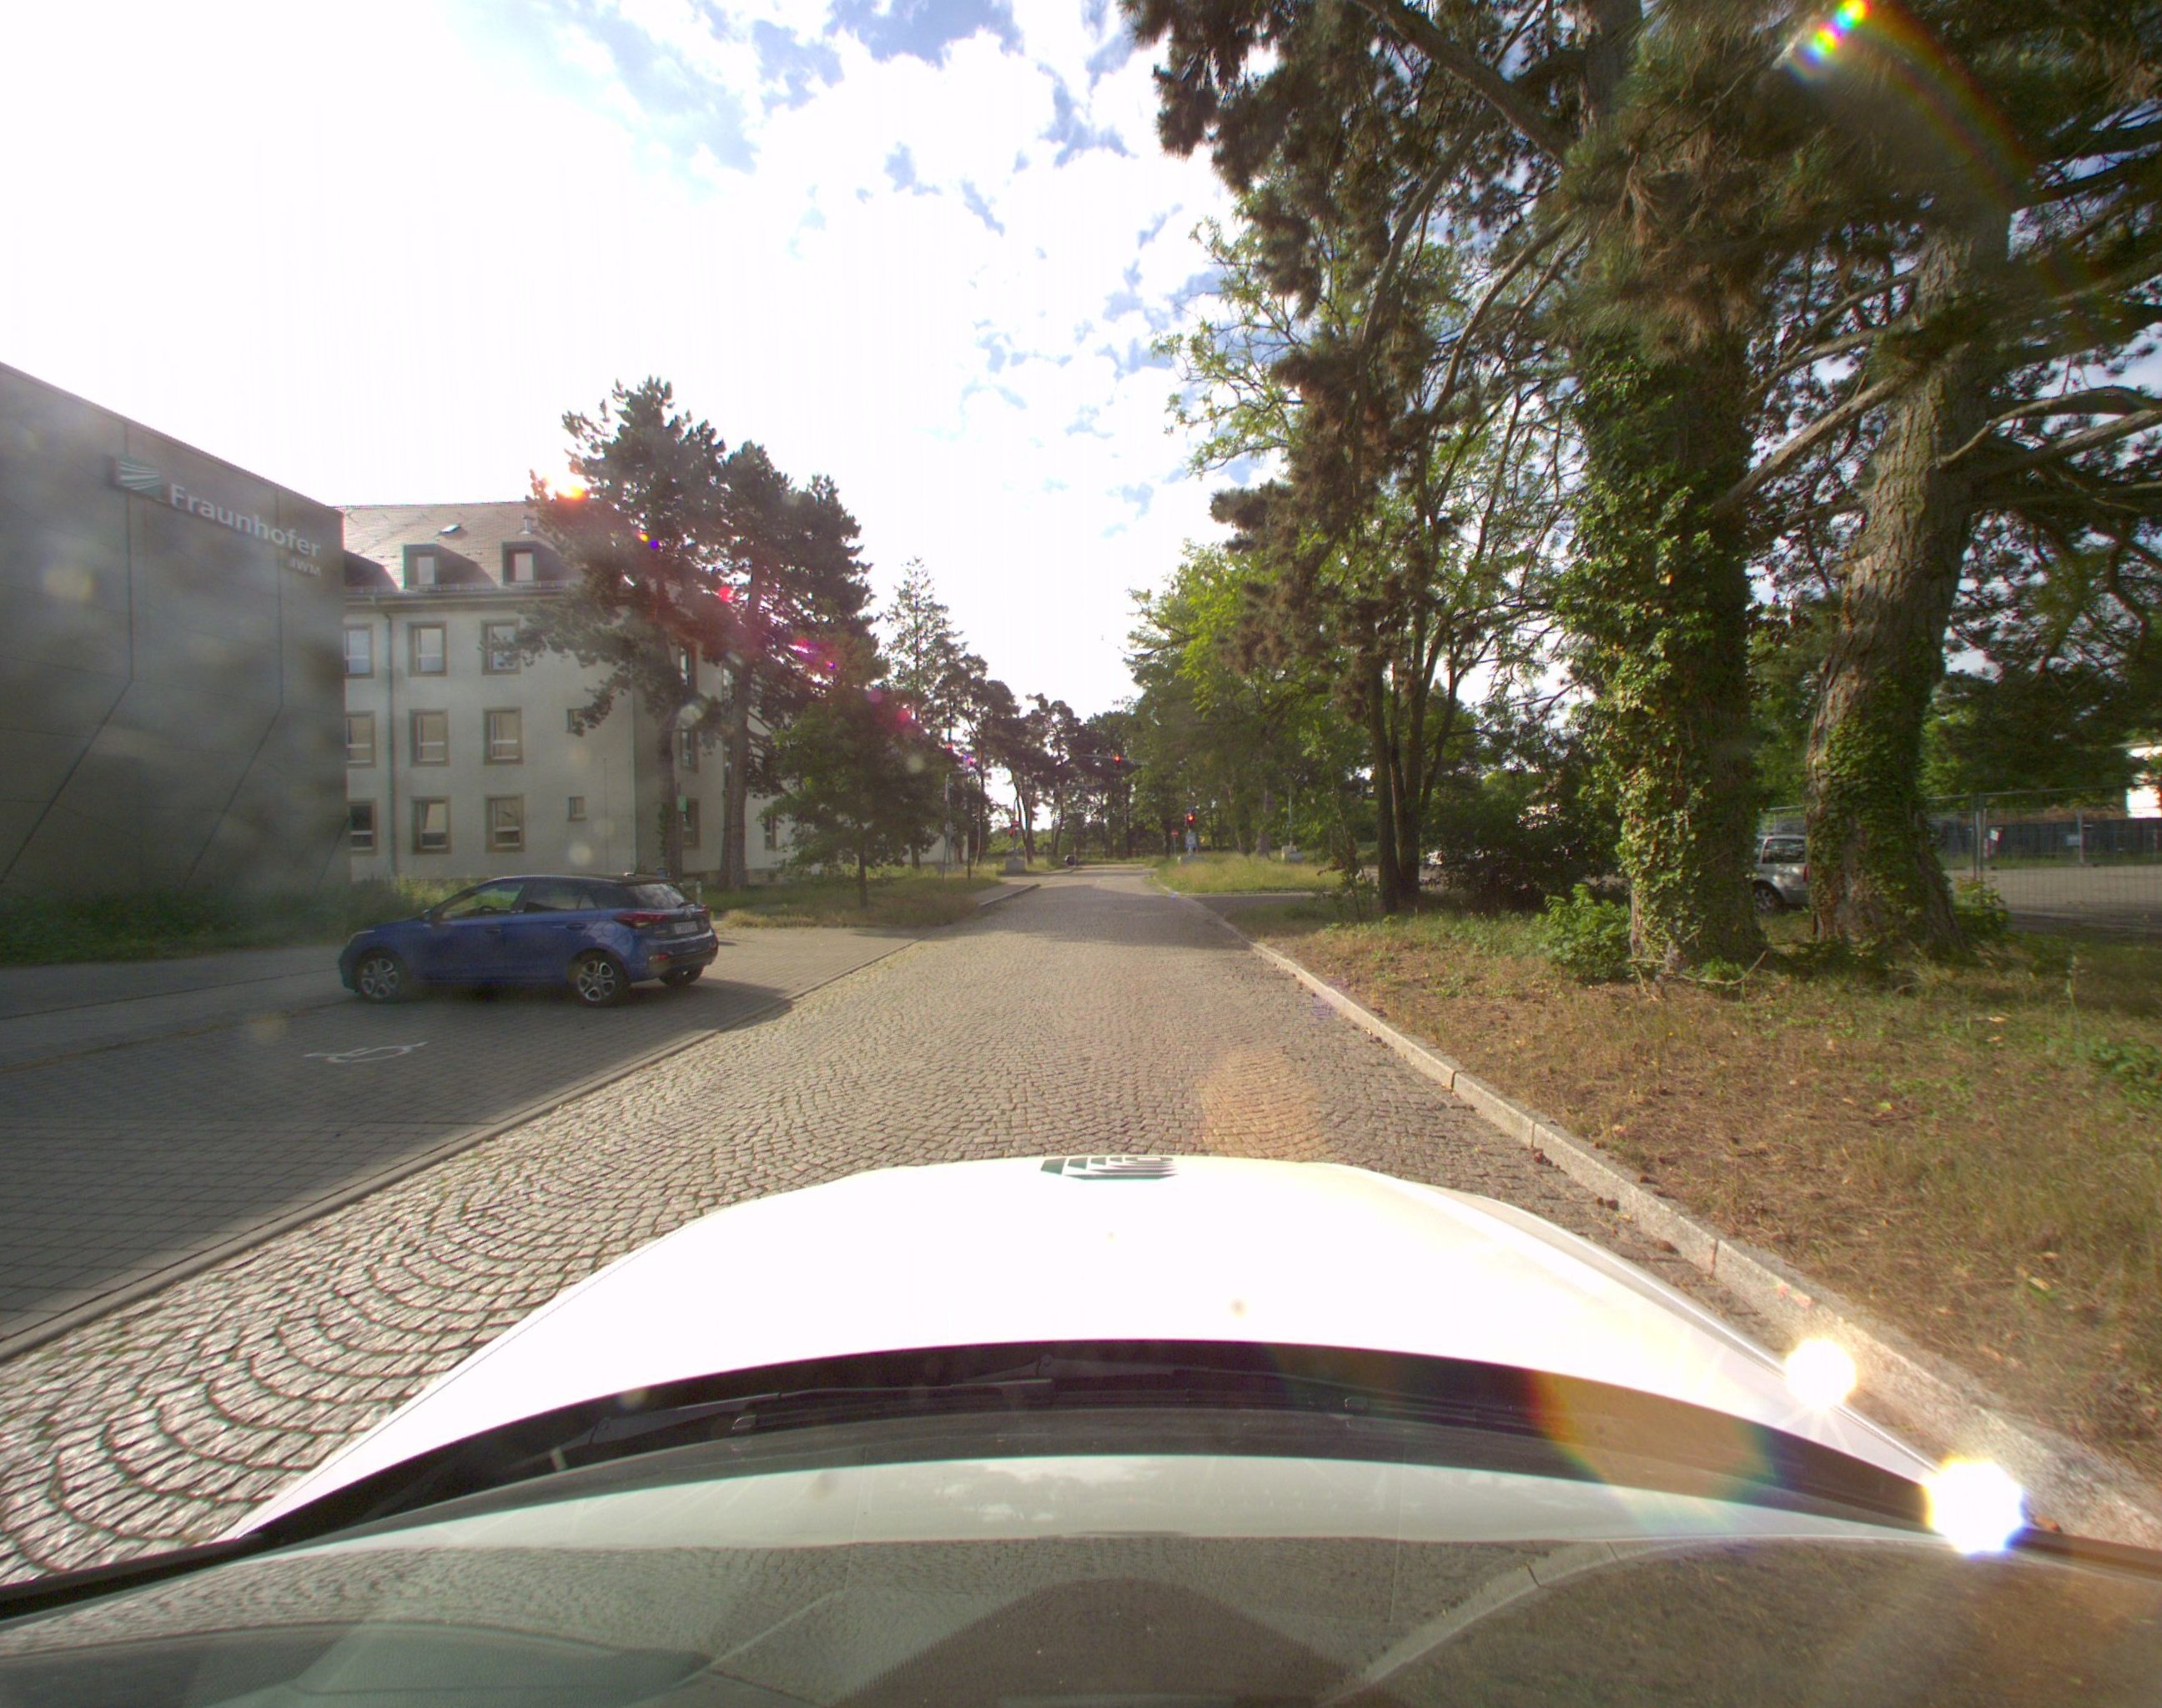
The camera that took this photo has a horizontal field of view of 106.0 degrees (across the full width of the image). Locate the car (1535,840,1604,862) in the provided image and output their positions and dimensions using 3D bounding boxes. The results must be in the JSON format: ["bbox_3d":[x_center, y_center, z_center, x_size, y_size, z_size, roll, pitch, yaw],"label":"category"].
[{"bbox_3d":[31.238,-0.173,52.212,1.726,1.312,4.330,-2,0,-1],"label":"car"}]

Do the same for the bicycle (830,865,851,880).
[{"bbox_3d":[-17.710,1.345,60.103,0.823,1.047,2.125,-2,0,2],"label":"bicycle"}]

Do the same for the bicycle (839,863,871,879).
[{"bbox_3d":[-16.311,1.207,58.814,2.111,1.108,0.828,-2,0,-2],"label":"bicycle"}]

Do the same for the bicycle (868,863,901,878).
[{"bbox_3d":[-14.189,1.196,58.852,2.111,1.047,0.828,-2,0,-2],"label":"bicycle"}]

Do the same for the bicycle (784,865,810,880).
[{"bbox_3d":[-20.950,1.358,60.186,0.897,1.047,2.555,-2,0,2],"label":"bicycle"}]

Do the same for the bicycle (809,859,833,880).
[{"bbox_3d":[-19.272,1.143,60.444,0.823,1.437,2.555,-2,0,2],"label":"bicycle"}]

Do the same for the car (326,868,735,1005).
[{"bbox_3d":[-6.495,0.927,9.896,3.819,1.464,1.721,0,0,3],"label":"car"}]

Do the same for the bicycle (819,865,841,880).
[{"bbox_3d":[-18.492,1.348,60.081,0.823,1.047,2.125,-2,0,2],"label":"bicycle"}]

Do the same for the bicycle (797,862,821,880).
[{"bbox_3d":[-20.053,1.238,60.163,0.823,1.281,2.555,-2,0,2],"label":"bicycle"}]

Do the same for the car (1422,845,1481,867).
[{"bbox_3d":[23.357,0.103,51.531,1.726,1.312,4.330,-2,0,-1],"label":"car"}]

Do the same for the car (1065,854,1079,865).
[{"bbox_3d":[-1.290,0.790,116.021,1.839,1.486,3.999,-2,0,0],"label":"car"}]

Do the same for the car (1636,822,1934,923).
[{"bbox_3d":[11.901,0.277,14.179,1.662,1.467,3.998,-2,0,-1],"label":"car"}]

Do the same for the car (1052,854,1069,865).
[{"bbox_3d":[-3.082,0.821,120.817,1.772,1.490,3.765,-2,0,9],"label":"car"}]
